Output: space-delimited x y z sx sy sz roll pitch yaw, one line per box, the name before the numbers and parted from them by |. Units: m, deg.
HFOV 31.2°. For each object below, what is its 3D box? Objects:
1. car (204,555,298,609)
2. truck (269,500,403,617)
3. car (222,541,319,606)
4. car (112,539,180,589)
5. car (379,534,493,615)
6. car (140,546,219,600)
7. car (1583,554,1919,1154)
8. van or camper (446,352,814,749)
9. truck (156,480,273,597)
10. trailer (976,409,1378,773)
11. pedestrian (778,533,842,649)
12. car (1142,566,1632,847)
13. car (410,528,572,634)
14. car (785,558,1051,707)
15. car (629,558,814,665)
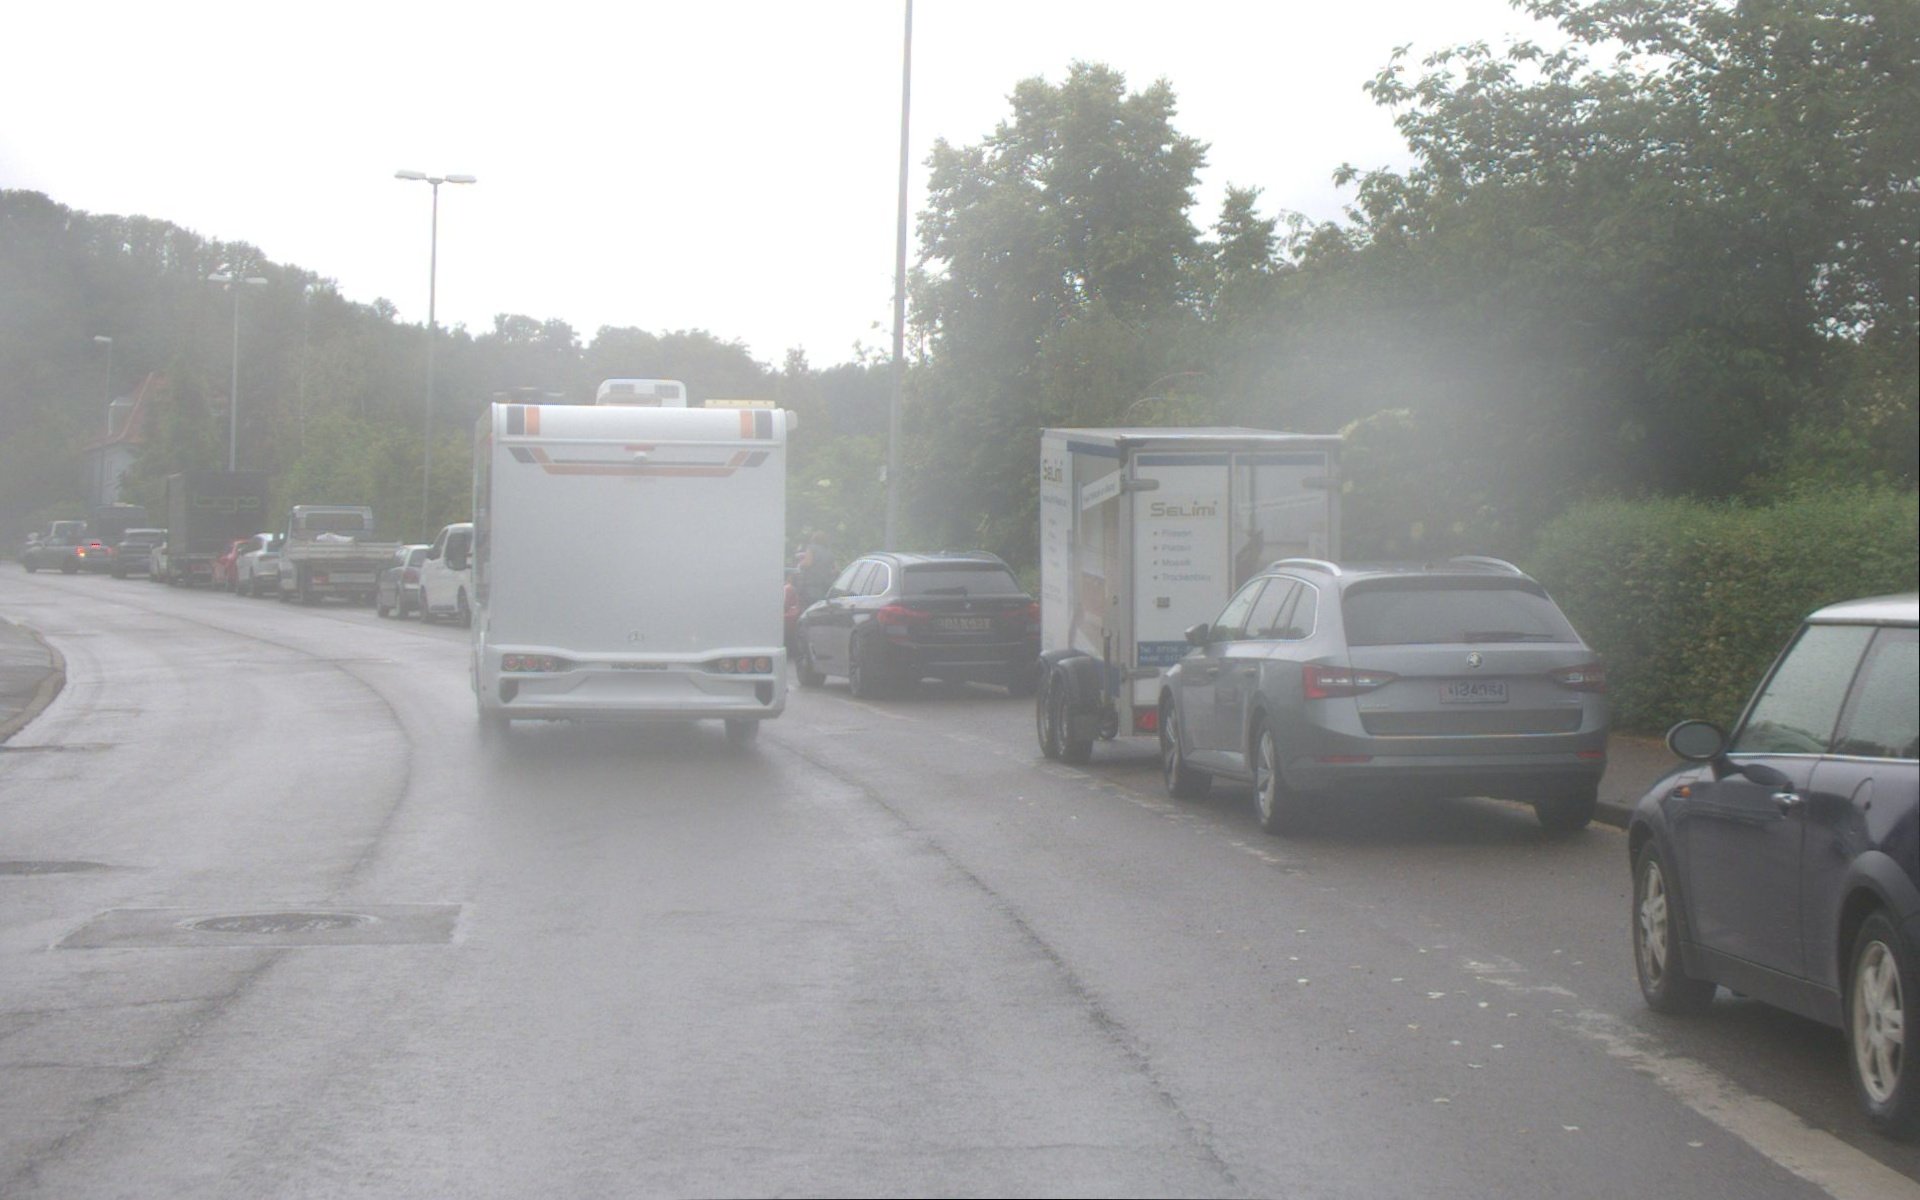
car | -19.648 -0.516 95.122 1.831 1.433 4.988 0 0 -20
truck | -14.707 -0.965 80.689 2.238 2.622 6.540 1 0 -18
car | -17.583 -0.685 87.487 1.759 1.599 4.668 0 0 -20
car | -27.762 -1.240 117.170 1.936 1.666 4.696 0 1 -17
car | -10.487 -0.508 68.640 1.647 1.558 3.964 0 0 -18
car | -25.022 -0.874 110.043 1.845 1.678 5.640 0 0 -19
car | 3.074 0.611 10.206 1.633 1.452 3.701 1 0 -2
van or camper | -2.882 -0.304 28.529 2.615 2.843 6.032 2 -1 -8
truck | -22.170 -1.784 102.017 2.435 3.324 7.967 0 0 -19
trailer | 1.493 -0.074 25.982 1.948 2.448 5.435 1 0 -8
pedestrian | -2.131 -0.130 48.760 0.704 1.629 0.719 1 1 -18
car | 2.301 0.529 19.799 1.747 1.419 4.705 1 0 -6
car | -8.707 -0.355 63.441 1.848 1.875 4.912 0 0 -21
car | -0.522 0.298 36.312 1.792 1.454 4.790 0 1 -13
car | -3.337 0.134 47.442 1.735 1.409 3.853 0 0 -17
